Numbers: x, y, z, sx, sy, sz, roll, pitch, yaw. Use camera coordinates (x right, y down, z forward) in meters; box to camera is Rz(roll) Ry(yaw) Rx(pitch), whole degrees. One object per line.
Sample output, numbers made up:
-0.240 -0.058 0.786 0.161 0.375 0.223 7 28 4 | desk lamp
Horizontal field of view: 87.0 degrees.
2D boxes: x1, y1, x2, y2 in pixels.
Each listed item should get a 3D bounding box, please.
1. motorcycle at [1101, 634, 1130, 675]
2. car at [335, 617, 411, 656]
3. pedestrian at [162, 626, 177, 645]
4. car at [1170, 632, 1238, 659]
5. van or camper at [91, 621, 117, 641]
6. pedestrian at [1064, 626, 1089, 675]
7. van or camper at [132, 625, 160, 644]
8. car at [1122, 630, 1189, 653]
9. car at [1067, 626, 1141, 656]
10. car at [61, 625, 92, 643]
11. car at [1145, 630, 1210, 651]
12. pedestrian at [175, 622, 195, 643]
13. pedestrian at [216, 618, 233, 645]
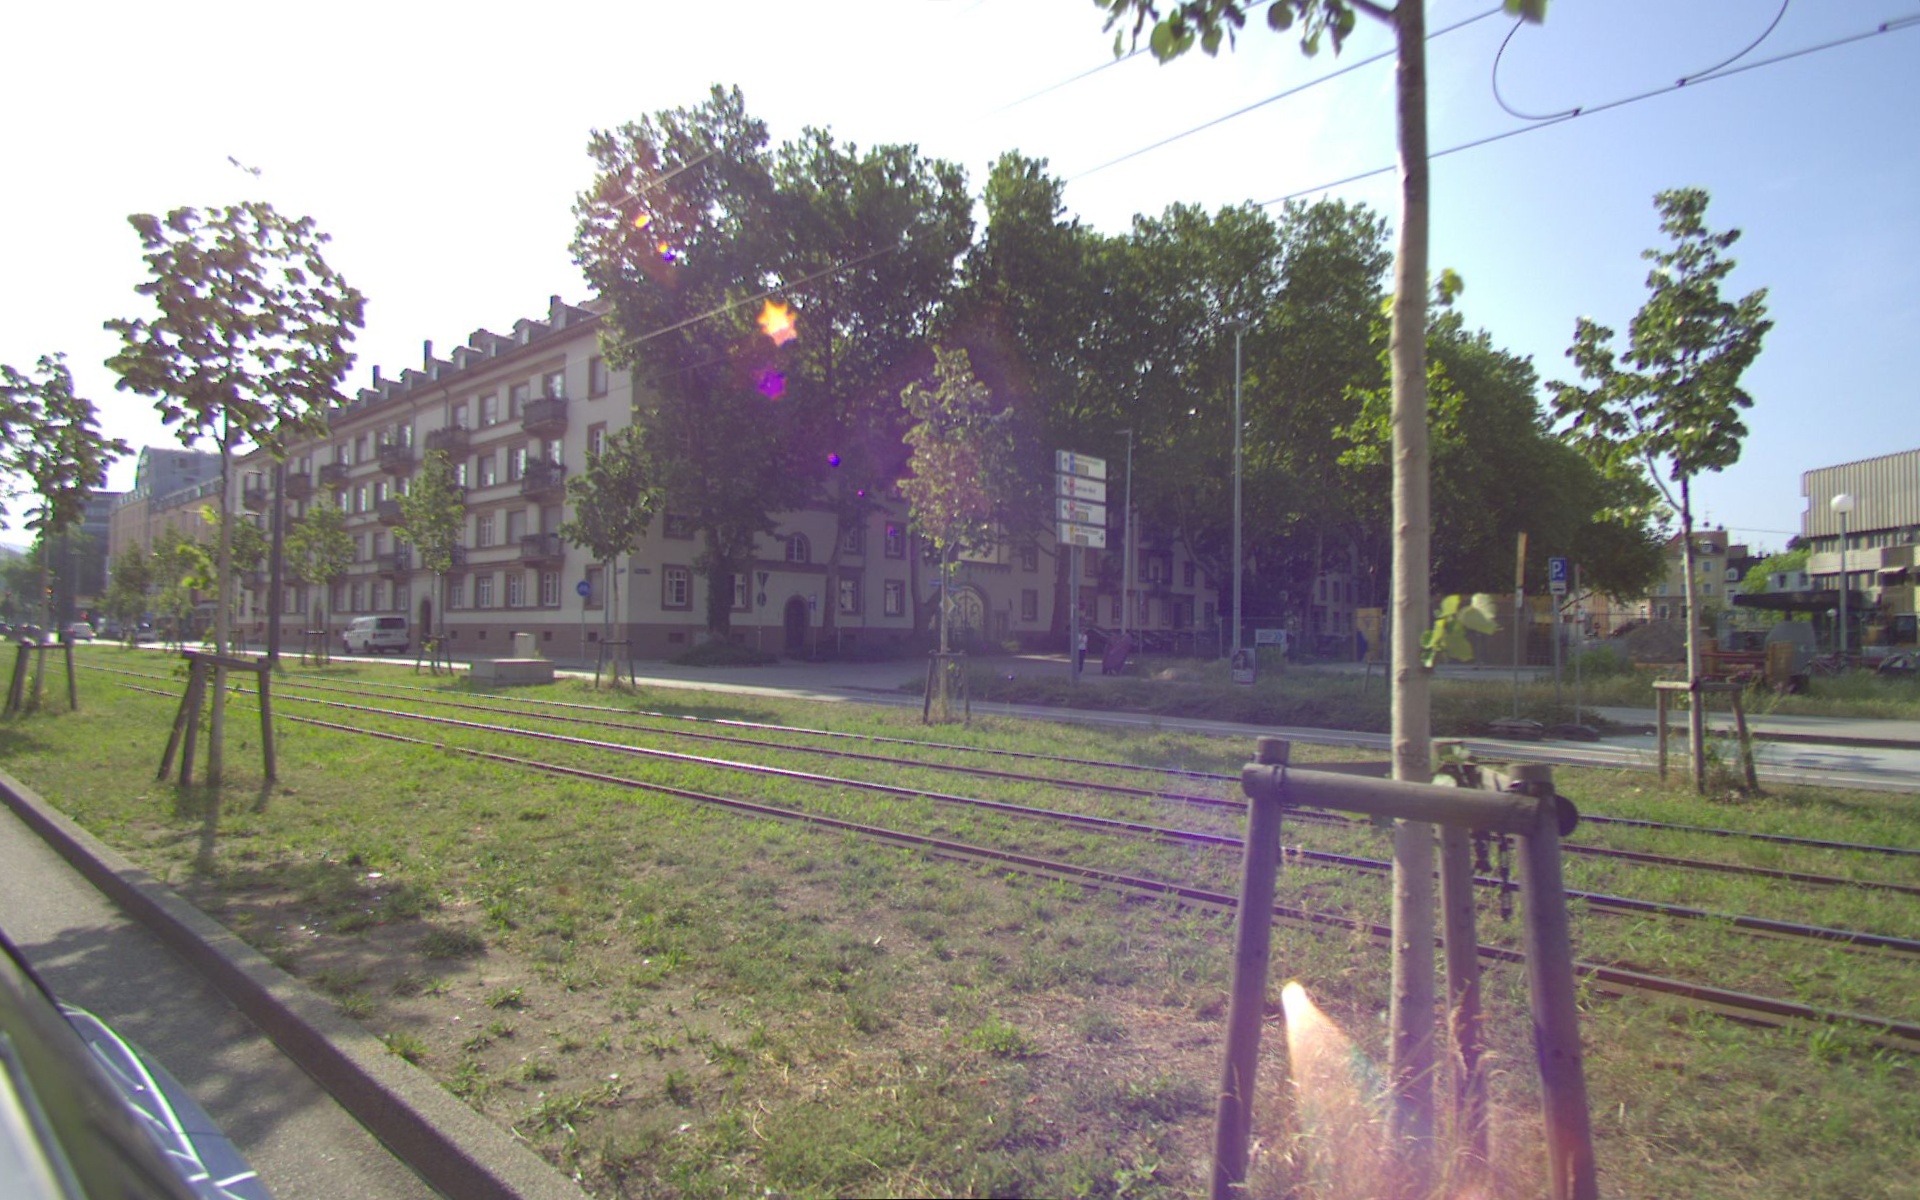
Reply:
5.406 1.869 35.342 0.807 1.379 2.294 0 -2 4 | motorcycle
-31.188 1.909 53.670 5.150 1.932 1.973 -2 -1 41 | car
-65.384 2.939 83.736 0.679 1.595 0.797 -2 -3 38 | pedestrian
13.153 2.434 54.421 1.999 1.386 3.946 -2 -3 40 | car
-120.971 4.396 143.027 5.350 2.823 1.973 -1 -3 41 | van or camper
4.101 1.757 35.574 0.673 1.690 0.731 -1 -2 25 | pedestrian
-86.341 3.641 107.351 1.908 1.983 4.002 3 -3 -45 | van or camper
12.922 2.719 66.987 3.997 1.475 1.851 -2 -3 41 | car
8.676 2.487 61.222 3.997 1.763 1.973 -2 -3 41 | car
-95.743 3.725 109.671 5.045 1.909 1.972 -2 -3 42 | car
15.087 2.789 70.174 3.997 1.386 1.875 -2 -3 41 | car
-71.044 3.008 92.774 0.855 1.882 1.067 0 -2 13 | pedestrian
-58.607 2.519 80.657 1.156 2.084 0.833 -2 -2 42 | pedestrian
